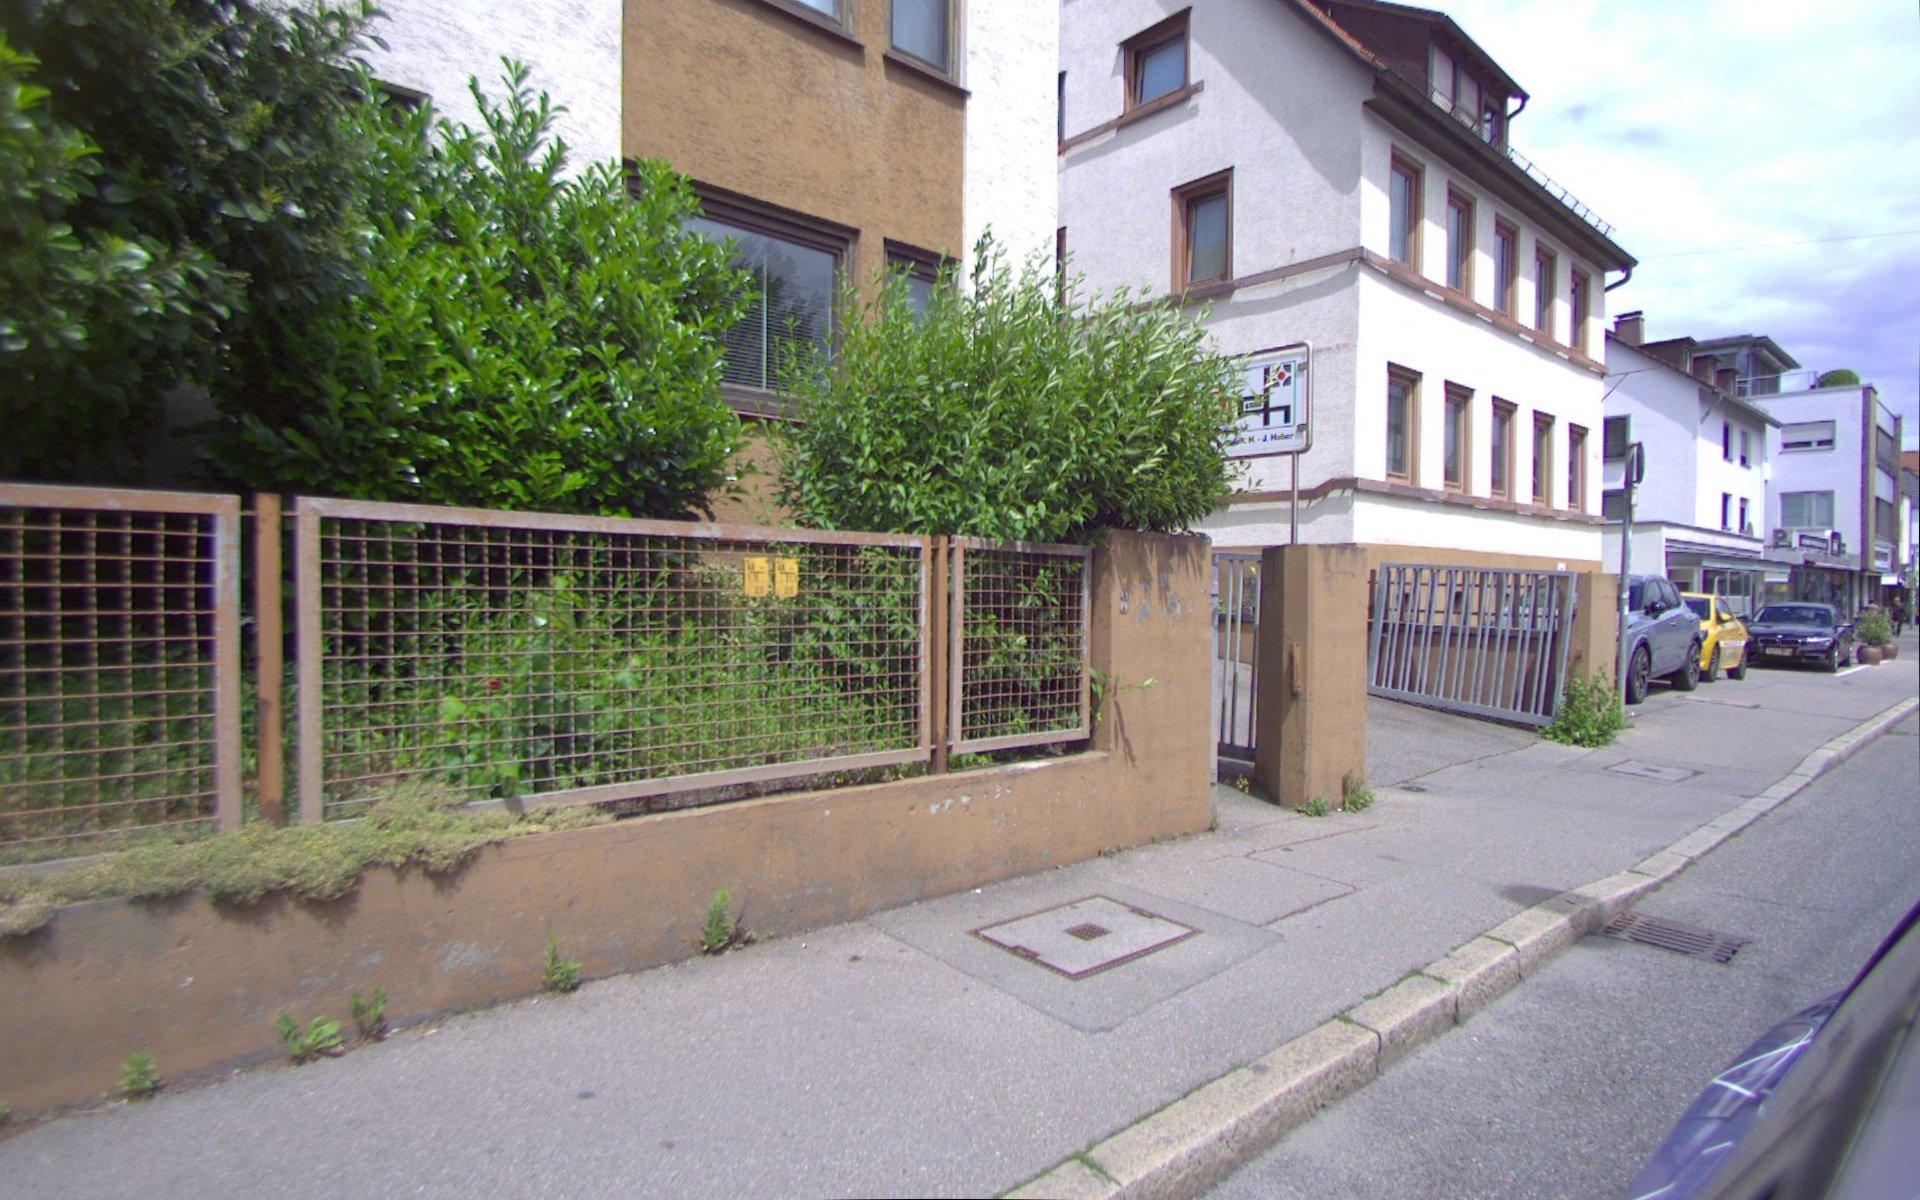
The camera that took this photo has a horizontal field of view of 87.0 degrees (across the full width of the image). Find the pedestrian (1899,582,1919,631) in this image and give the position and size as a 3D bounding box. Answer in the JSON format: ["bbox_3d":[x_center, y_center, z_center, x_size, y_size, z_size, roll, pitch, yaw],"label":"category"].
[{"bbox_3d":[40.527,0.263,43.217,0.902,2.047,0.476,1,1,-40],"label":"pedestrian"}]

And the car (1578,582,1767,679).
[{"bbox_3d":[12.148,0.440,17.175,3.934,1.430,1.922,0,1,-44],"label":"car"}]

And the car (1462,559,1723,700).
[{"bbox_3d":[8.751,0.313,13.877,4.030,1.639,1.997,0,1,-42],"label":"car"}]

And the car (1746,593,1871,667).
[{"bbox_3d":[18.673,0.599,22.216,3.933,1.439,1.653,0,1,-43],"label":"car"}]
